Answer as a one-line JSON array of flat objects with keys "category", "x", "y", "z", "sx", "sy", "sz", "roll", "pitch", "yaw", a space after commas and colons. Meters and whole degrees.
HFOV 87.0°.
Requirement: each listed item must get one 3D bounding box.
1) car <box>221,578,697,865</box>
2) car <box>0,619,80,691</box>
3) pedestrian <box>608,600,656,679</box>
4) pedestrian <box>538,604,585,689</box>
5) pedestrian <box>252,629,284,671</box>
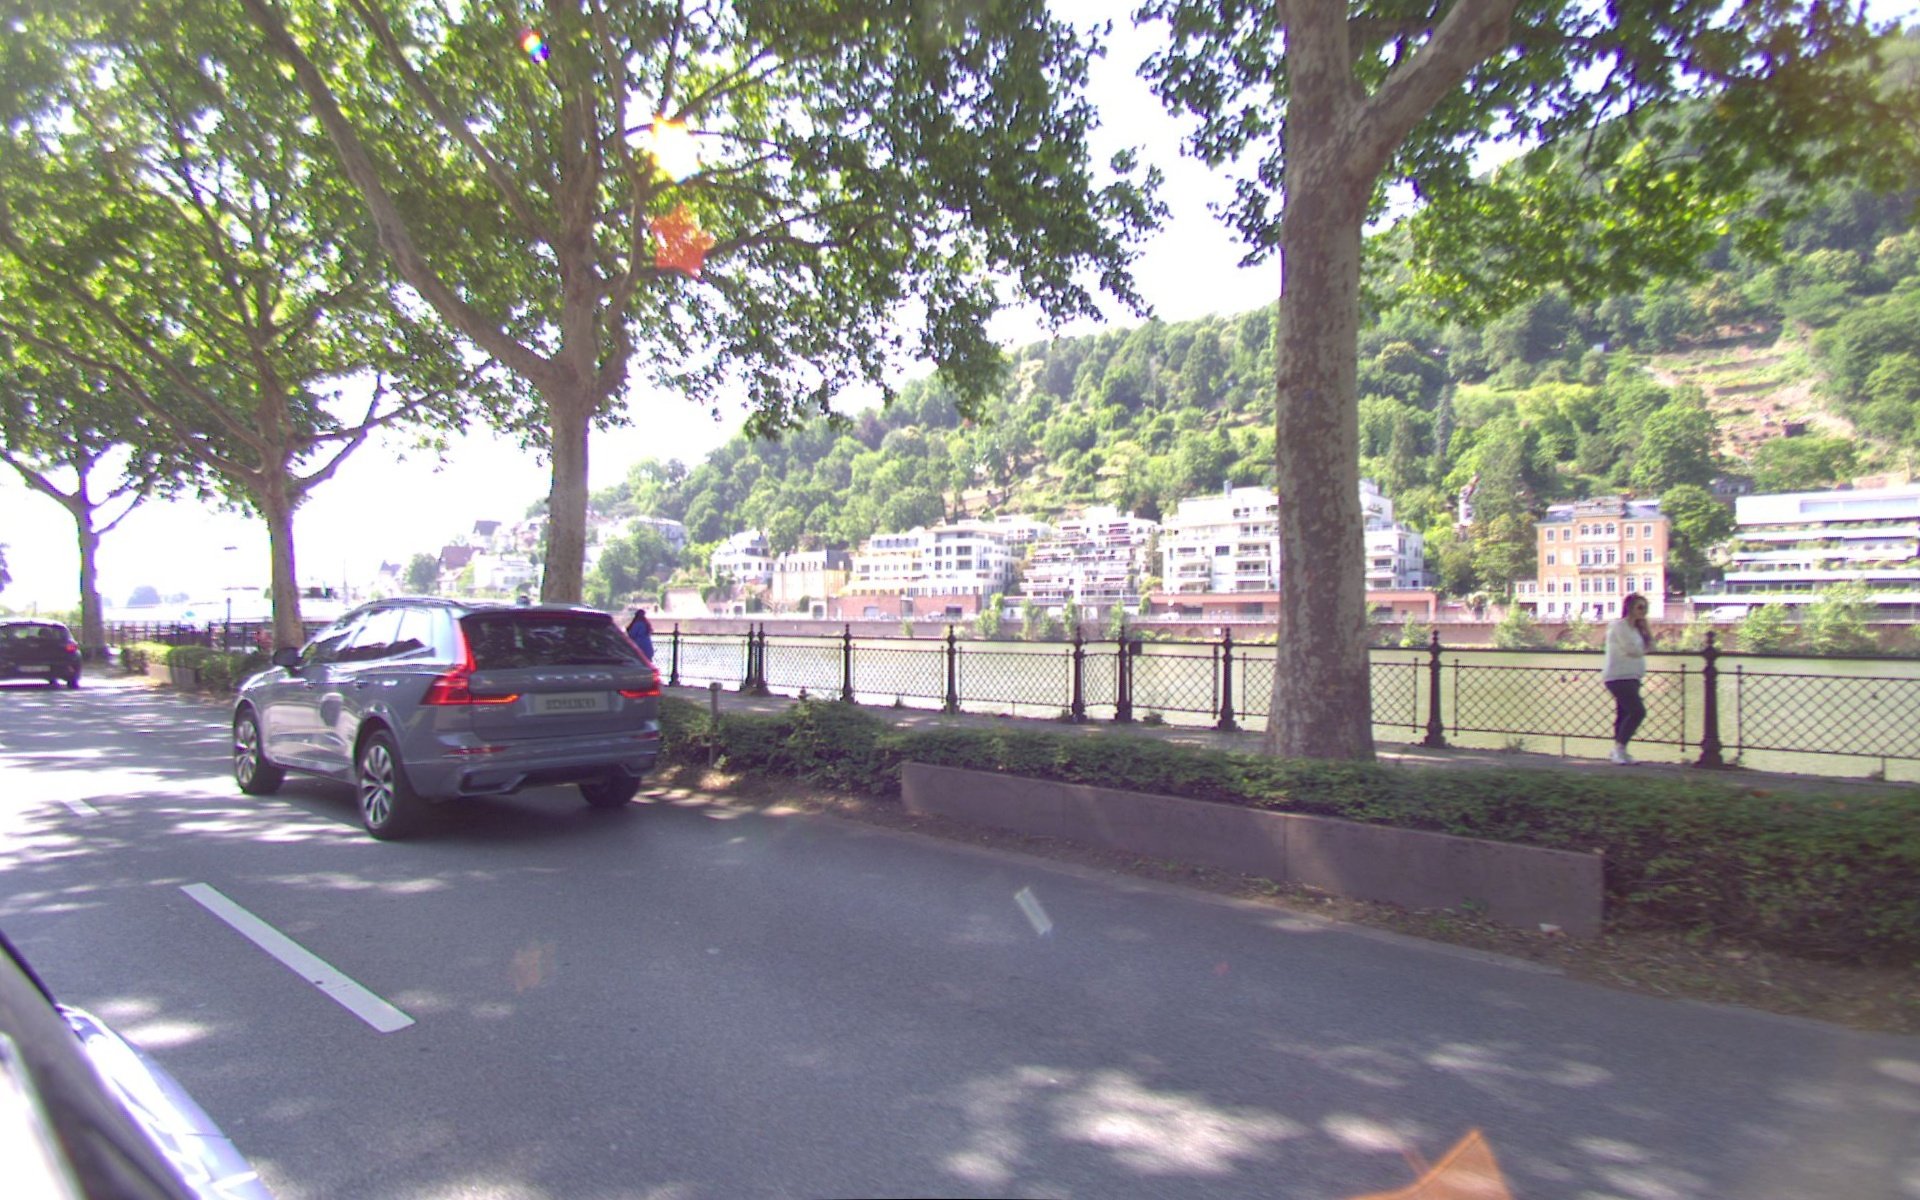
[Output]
[{"category": "car", "x": -4.180, "y": 0.788, "z": 8.143, "sx": 4.256, "sy": 1.711, "sz": 1.857, "roll": -1, "pitch": -3, "yaw": 40}, {"category": "car", "x": -20.730, "y": 1.165, "z": 22.174, "sx": 3.777, "sy": 1.480, "sz": 1.632, "roll": -1, "pitch": -3, "yaw": 41}, {"category": "pedestrian", "x": -6.868, "y": 0.811, "z": 21.162, "sx": 0.705, "sy": 1.615, "sz": 0.696, "roll": -1, "pitch": -1, "yaw": 43}, {"category": "pedestrian", "x": -8.442, "y": 0.970, "z": 21.438, "sx": 0.705, "sy": 1.744, "sz": 0.696, "roll": -1, "pitch": -1, "yaw": 43}, {"category": "pedestrian", "x": -22.227, "y": 1.602, "z": 32.510, "sx": 0.656, "sy": 1.318, "sz": 0.695, "roll": -1, "pitch": -3, "yaw": 42}]
